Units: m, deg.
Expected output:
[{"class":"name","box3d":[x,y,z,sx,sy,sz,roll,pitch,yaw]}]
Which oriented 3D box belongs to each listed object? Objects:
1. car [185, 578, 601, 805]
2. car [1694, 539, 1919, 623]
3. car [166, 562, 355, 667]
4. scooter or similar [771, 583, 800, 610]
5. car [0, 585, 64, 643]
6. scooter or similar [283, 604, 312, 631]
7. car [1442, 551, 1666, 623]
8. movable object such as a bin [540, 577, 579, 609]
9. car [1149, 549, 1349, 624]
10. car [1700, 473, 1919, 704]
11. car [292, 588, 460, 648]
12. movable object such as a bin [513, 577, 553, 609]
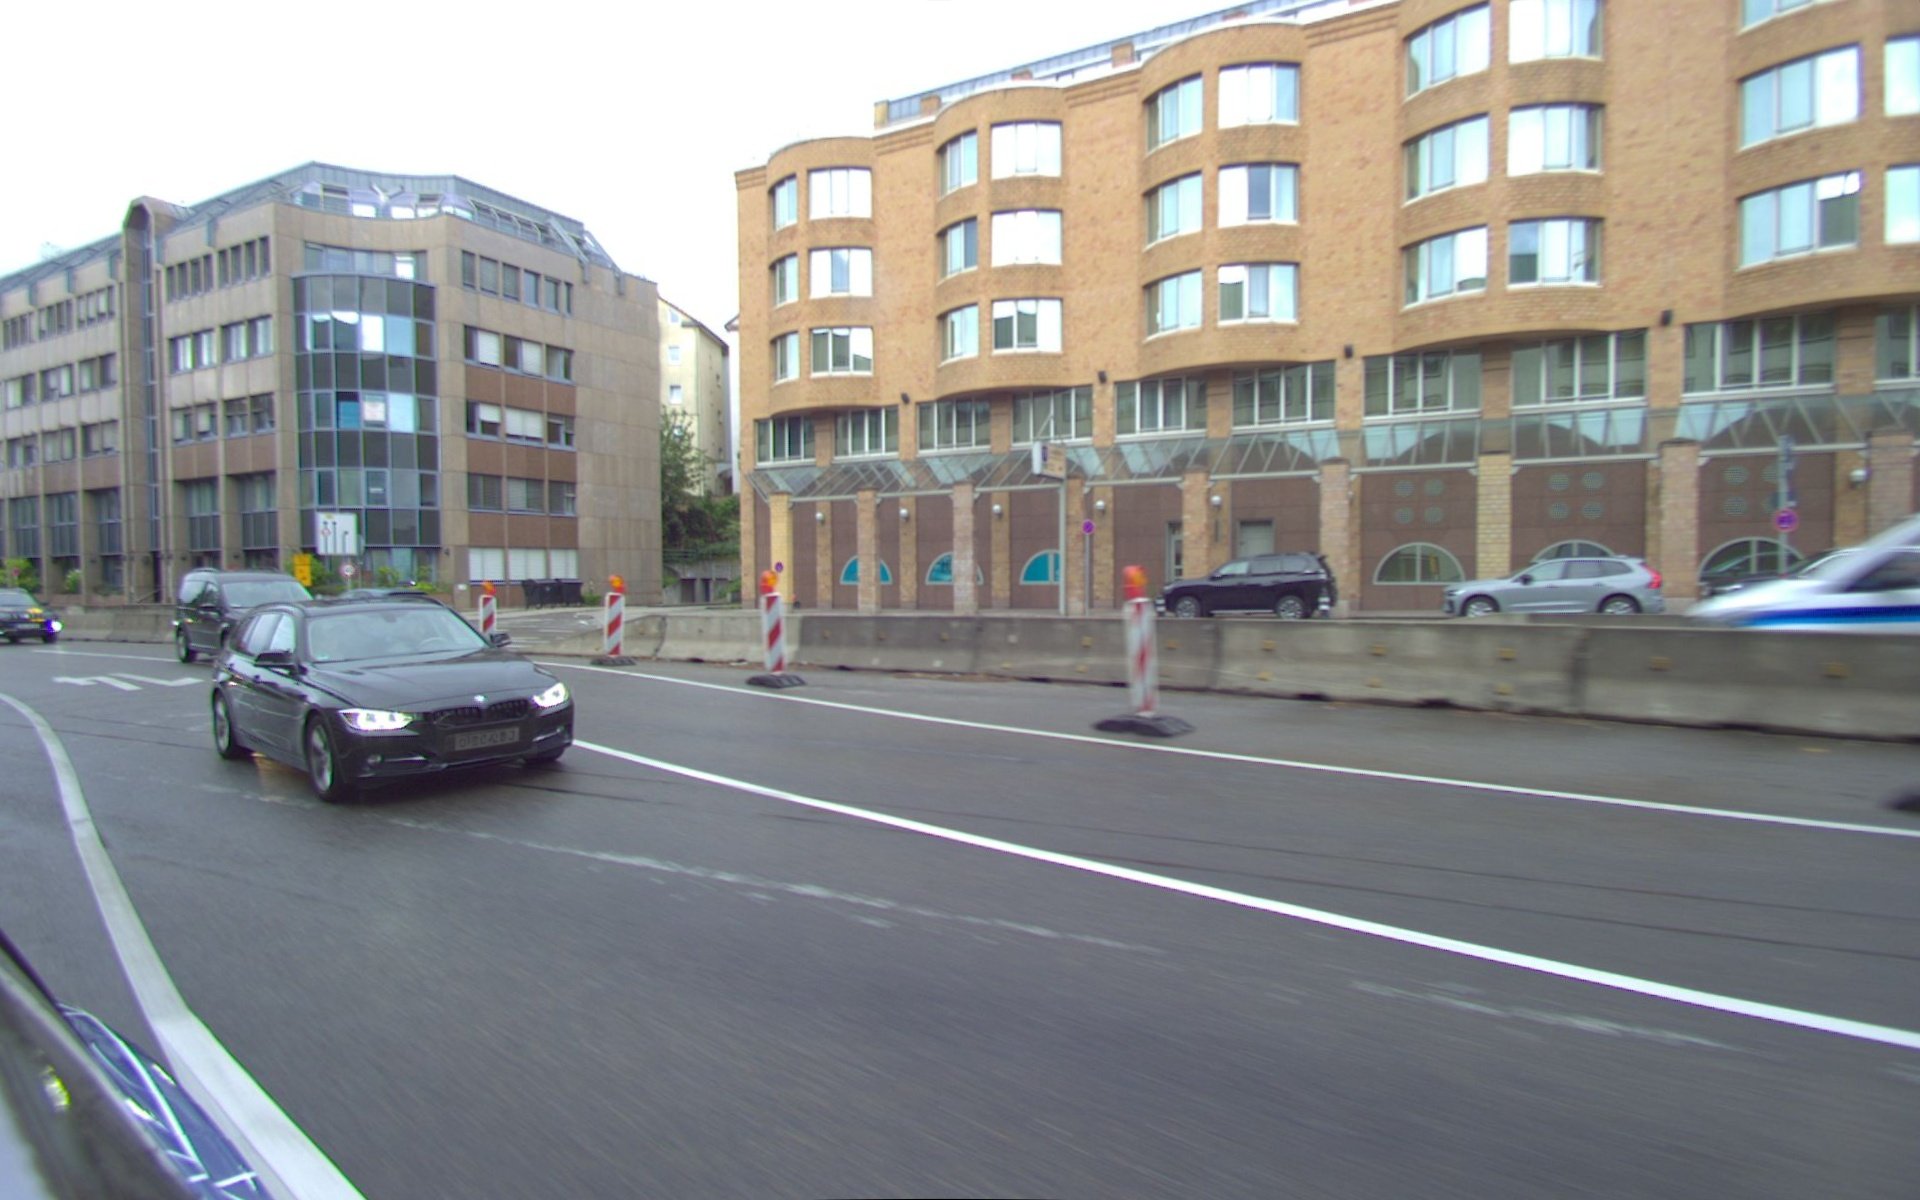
[{"class":"car","box3d":[-5.120,0.590,8.808,4.655,1.454,1.749,0,2,42]},{"class":"car","box3d":[19.128,-0.409,21.930,5.032,1.703,1.979,-1,1,32]},{"class":"car","box3d":[-13.590,0.239,19.575,4.244,1.814,1.777,0,2,38]},{"class":"scooter or similar","box3d":[-7.033,-0.151,40.835,1.036,1.071,0.447,-1,1,18]},{"class":"car","box3d":[-27.714,0.390,28.940,4.337,1.545,1.756,-1,1,29]},{"class":"scooter or similar","box3d":[-27.731,0.728,42.380,1.036,1.071,0.447,-1,1,18]},{"class":"car","box3d":[14.297,-0.288,24.696,4.517,1.606,1.982,-1,1,27]},{"class":"movable object such as a bin","box3d":[-19.505,-0.348,49.303,1.348,1.491,1.232,-1,1,36]},{"class":"car","box3d":[7.907,-0.354,27.793,4.989,1.900,1.982,-1,1,27]},{"class":"car","box3d":[9.236,-0.128,8.447,4.864,1.899,1.974,0,2,39]},{"class":"car","box3d":[-15.579,0.455,26.966,4.210,1.470,1.981,-1,1,29]},{"class":"movable object such as a bin","box3d":[-20.201,-0.328,47.878,1.348,1.491,1.232,-1,1,36]}]
